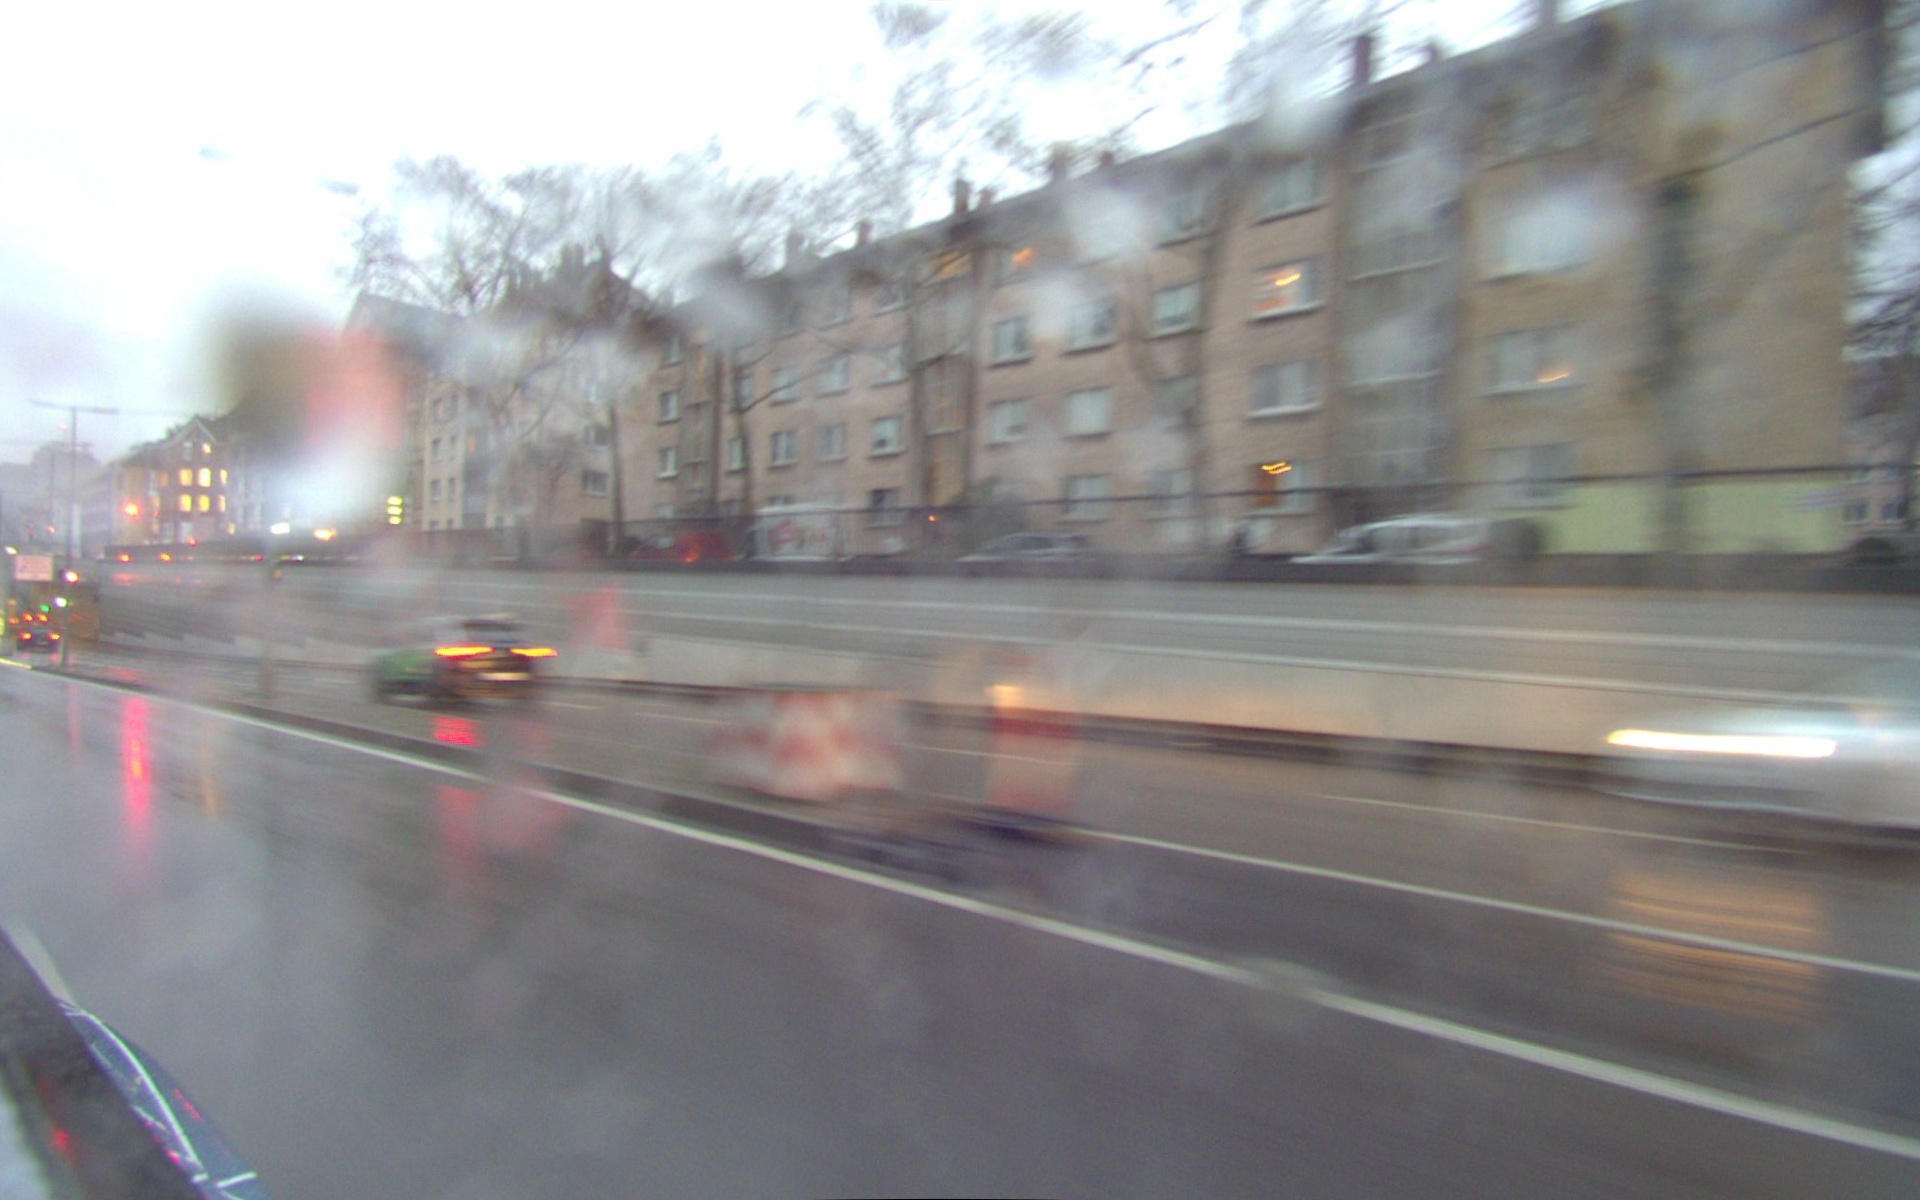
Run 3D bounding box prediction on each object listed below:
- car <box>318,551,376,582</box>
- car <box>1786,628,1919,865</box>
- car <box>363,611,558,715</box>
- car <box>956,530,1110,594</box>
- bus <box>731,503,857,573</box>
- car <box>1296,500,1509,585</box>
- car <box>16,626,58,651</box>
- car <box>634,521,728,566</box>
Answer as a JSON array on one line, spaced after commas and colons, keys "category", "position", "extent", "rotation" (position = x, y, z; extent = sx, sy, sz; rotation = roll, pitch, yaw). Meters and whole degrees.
[{"category": "car", "position": [-30.593, -1.644, 50.466], "extent": [3.405, 1.408, 1.548], "rotation": [1, -2, 43]}, {"category": "car", "position": [7.619, 0.938, 6.193], "extent": [3.873, 1.502, 1.656], "rotation": [-2, -4, 42]}, {"category": "car", "position": [-8.778, 1.063, 17.657], "extent": [3.841, 1.604, 1.765], "rotation": [-2, -4, 43]}, {"category": "car", "position": [1.862, -0.964, 26.606], "extent": [3.877, 1.484, 1.548], "rotation": [1, -2, 42]}, {"category": "bus", "position": [-5.147, -1.833, 31.058], "extent": [4.066, 1.884, 1.676], "rotation": [1, -2, 44]}, {"category": "car", "position": [8.869, -1.103, 20.425], "extent": [3.624, 1.484, 1.548], "rotation": [1, -2, 42]}, {"category": "car", "position": [-56.079, 2.343, 61.461], "extent": [3.685, 1.482, 1.555], "rotation": [-2, -2, 42]}, {"category": "car", "position": [-10.544, -2.088, 38.157], "extent": [3.878, 1.484, 1.548], "rotation": [1, -2, 43]}]
